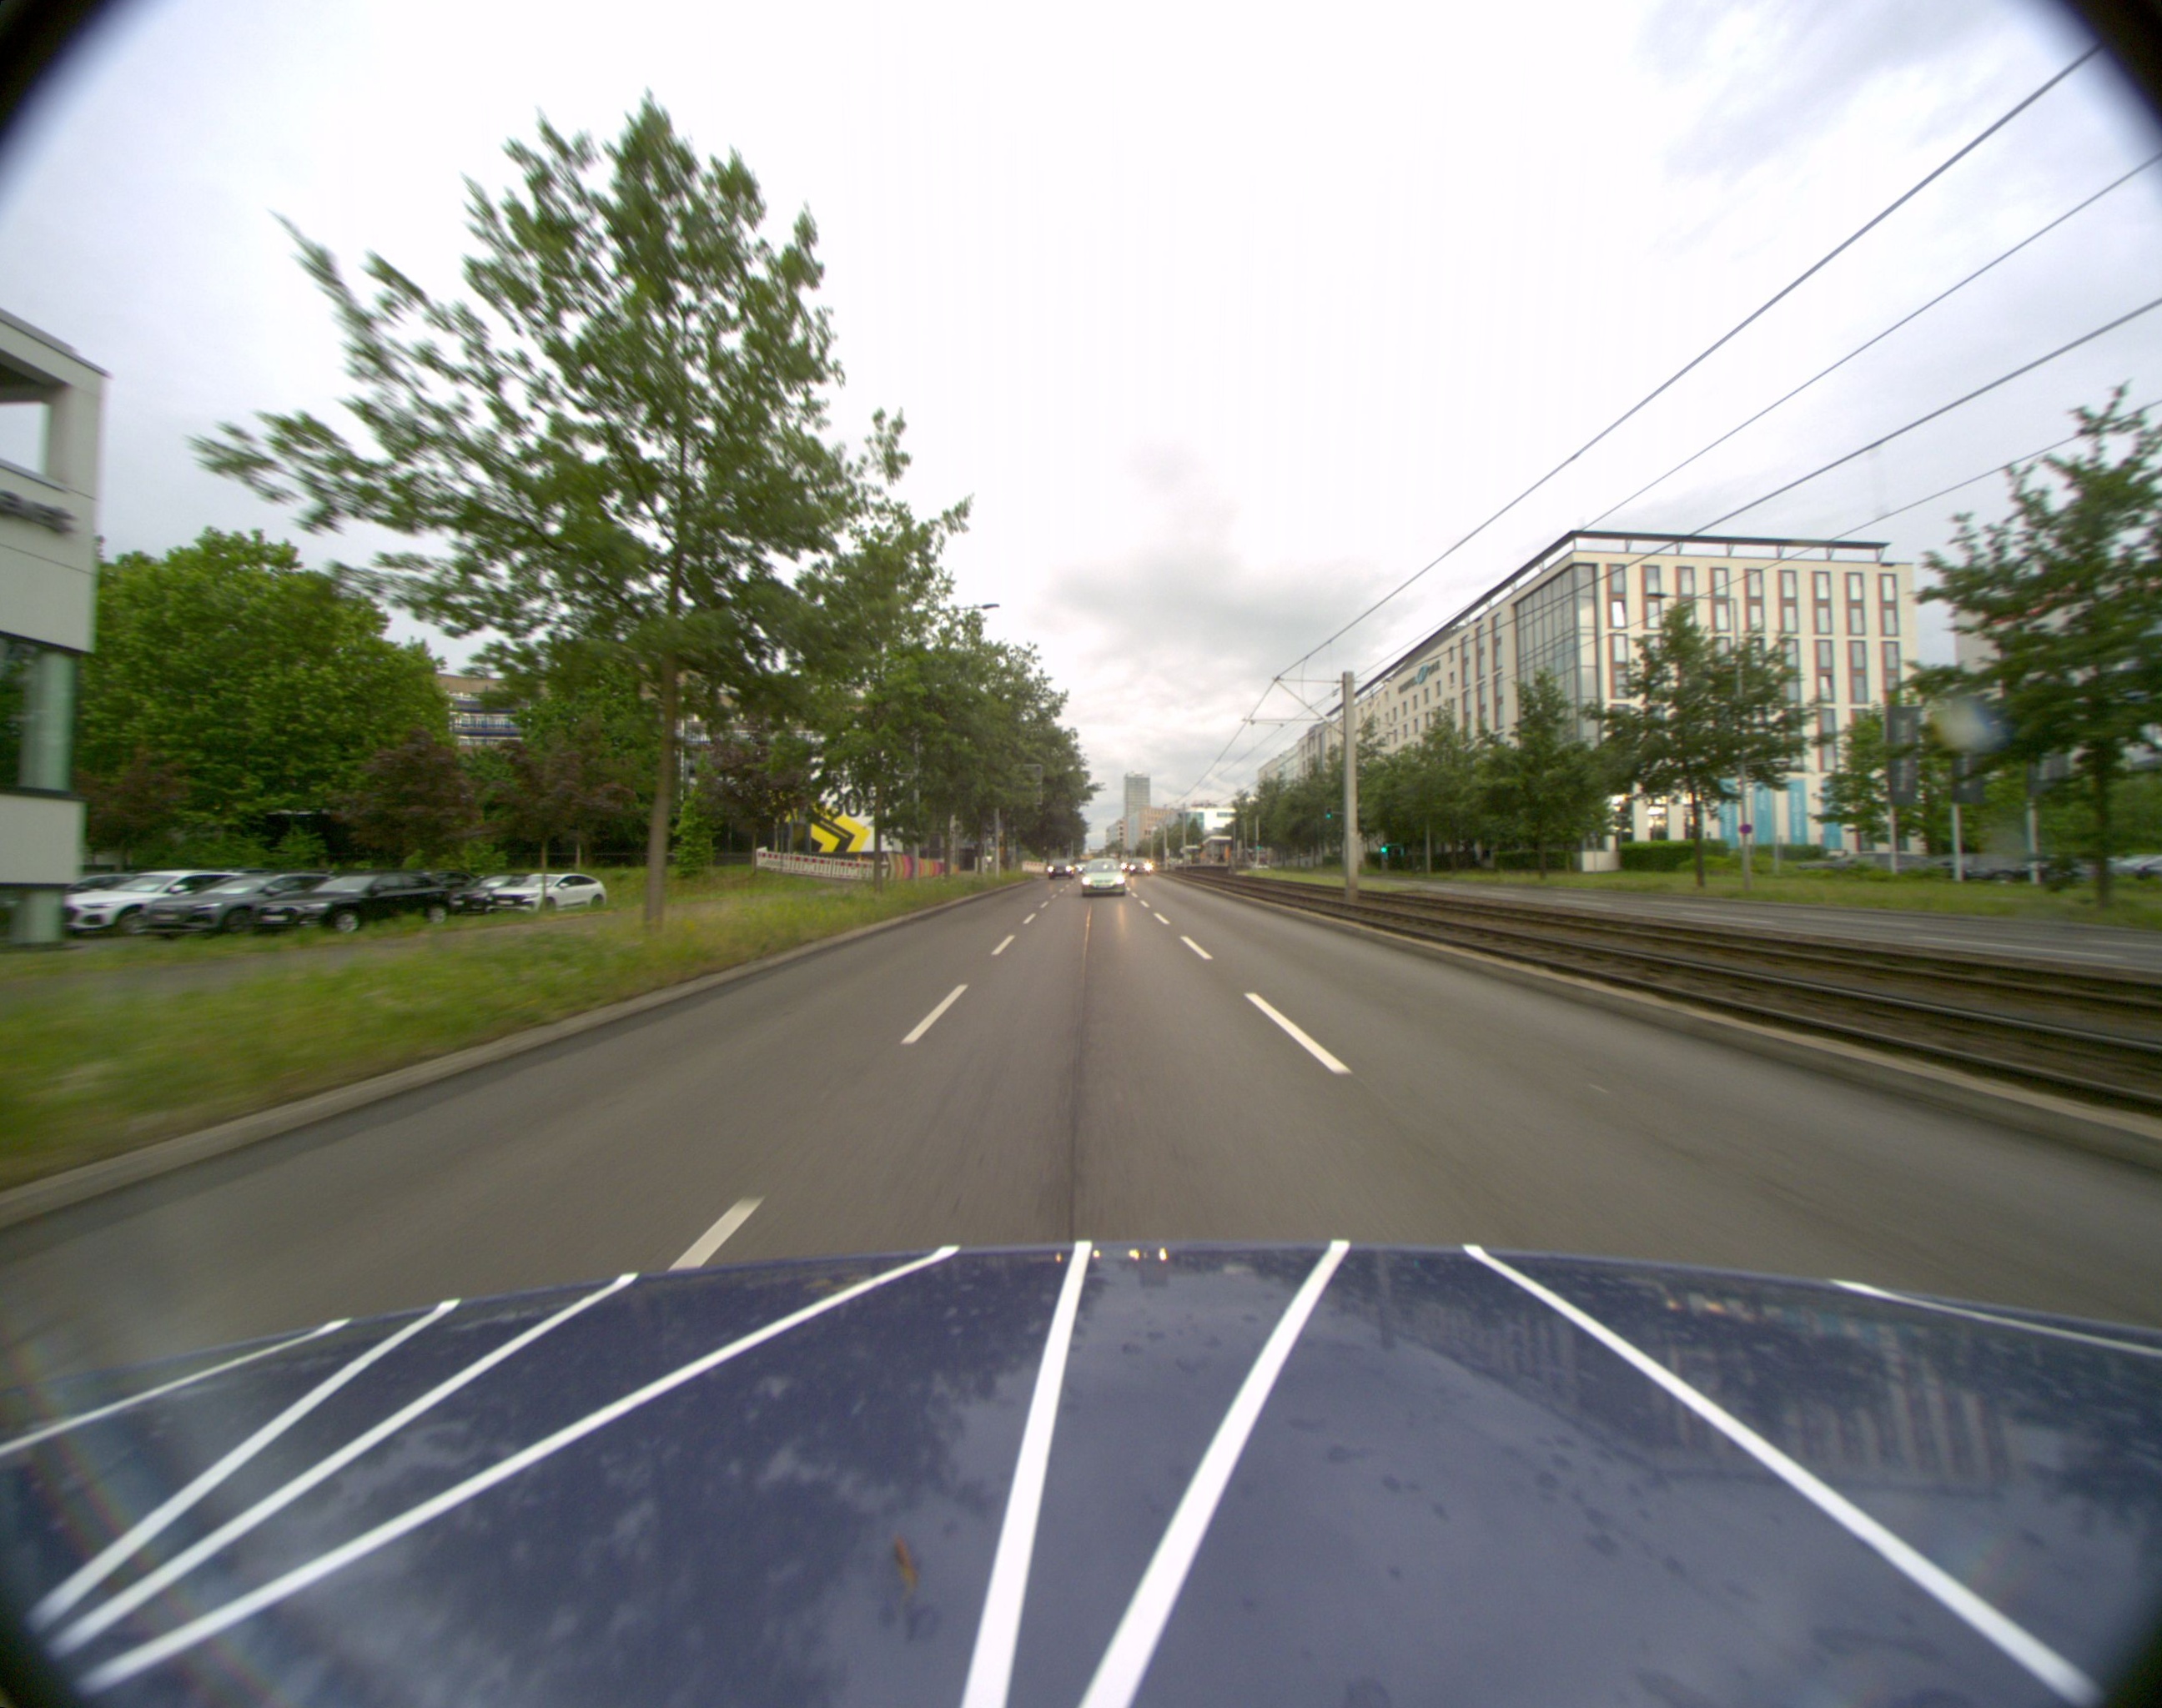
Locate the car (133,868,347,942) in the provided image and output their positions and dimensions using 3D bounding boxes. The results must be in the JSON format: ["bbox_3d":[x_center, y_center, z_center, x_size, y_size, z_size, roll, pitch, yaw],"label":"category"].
[{"bbox_3d":[-22.315,1.285,20.402,1.702,1.666,3.641,1,1,0],"label":"car"}]

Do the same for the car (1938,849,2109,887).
[{"bbox_3d":[38.431,0.571,31.131,3.990,1.383,1.806,-2,1,28],"label":"car"}]

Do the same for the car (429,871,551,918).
[{"bbox_3d":[-22.292,1.481,28.832,1.702,1.476,3.641,-3,1,0],"label":"car"}]

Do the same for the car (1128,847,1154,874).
[{"bbox_3d":[4.970,0.501,62.866,1.998,2.002,4.001,-3,1,5],"label":"car"}]

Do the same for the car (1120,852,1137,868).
[{"bbox_3d":[5.645,0.741,90.419,1.860,1.798,4.116,-2,-2,4],"label":"car"}]

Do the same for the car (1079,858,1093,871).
[{"bbox_3d":[0.838,1.579,114.640,1.860,1.798,4.116,-2,-2,3],"label":"car"}]

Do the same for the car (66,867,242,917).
[{"bbox_3d":[-32.693,1.298,26.975,1.702,1.476,3.641,-3,1,0],"label":"car"}]

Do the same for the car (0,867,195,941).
[{"bbox_3d":[-26.788,1.292,20.352,1.702,1.666,3.641,-4,1,0],"label":"car"}]

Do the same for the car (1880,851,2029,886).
[{"bbox_3d":[39.043,0.674,34.097,3.990,1.383,1.806,-2,1,28],"label":"car"}]

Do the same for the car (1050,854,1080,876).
[{"bbox_3d":[-1.212,0.889,59.814,1.828,1.599,4.117,-2,-2,6],"label":"car"}]

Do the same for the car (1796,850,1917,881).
[{"bbox_3d":[38.452,0.565,37.841,3.989,1.383,1.807,-2,1,38],"label":"car"}]

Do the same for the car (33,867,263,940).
[{"bbox_3d":[-24.819,1.248,20.447,1.702,1.666,3.641,1,1,0],"label":"car"}]

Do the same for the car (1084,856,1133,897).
[{"bbox_3d":[1.192,0.894,31.193,1.828,1.499,4.116,-2,-1,4],"label":"car"}]

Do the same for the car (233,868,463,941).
[{"bbox_3d":[-19.916,1.284,21.012,1.908,1.666,4.589,0,1,0],"label":"car"}]

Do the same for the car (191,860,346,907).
[{"bbox_3d":[-29.791,1.024,28.025,1.702,1.476,3.641,-3,1,0],"label":"car"}]

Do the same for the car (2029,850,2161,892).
[{"bbox_3d":[38.198,0.615,27.818,3.990,1.383,1.767,-2,1,28],"label":"car"}]

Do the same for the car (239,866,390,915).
[{"bbox_3d":[-27.584,1.273,27.523,1.702,1.476,3.641,-3,1,0],"label":"car"}]

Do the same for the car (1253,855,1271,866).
[{"bbox_3d":[23.364,0.788,98.133,1.701,1.356,3.818,2,0,4],"label":"car"}]

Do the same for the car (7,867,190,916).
[{"bbox_3d":[-34.667,1.271,26.980,1.702,1.476,3.641,-3,1,0],"label":"car"}]

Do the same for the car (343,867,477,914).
[{"bbox_3d":[-24.920,1.297,28.400,1.702,1.476,3.641,-3,1,0],"label":"car"}]

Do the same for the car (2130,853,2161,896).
[{"bbox_3d":[38.171,0.647,24.940,3.990,1.383,1.806,-2,1,28],"label":"car"}]

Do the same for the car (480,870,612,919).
[{"bbox_3d":[-19.796,1.443,28.384,1.702,1.476,4.461,-3,1,0],"label":"car"}]
